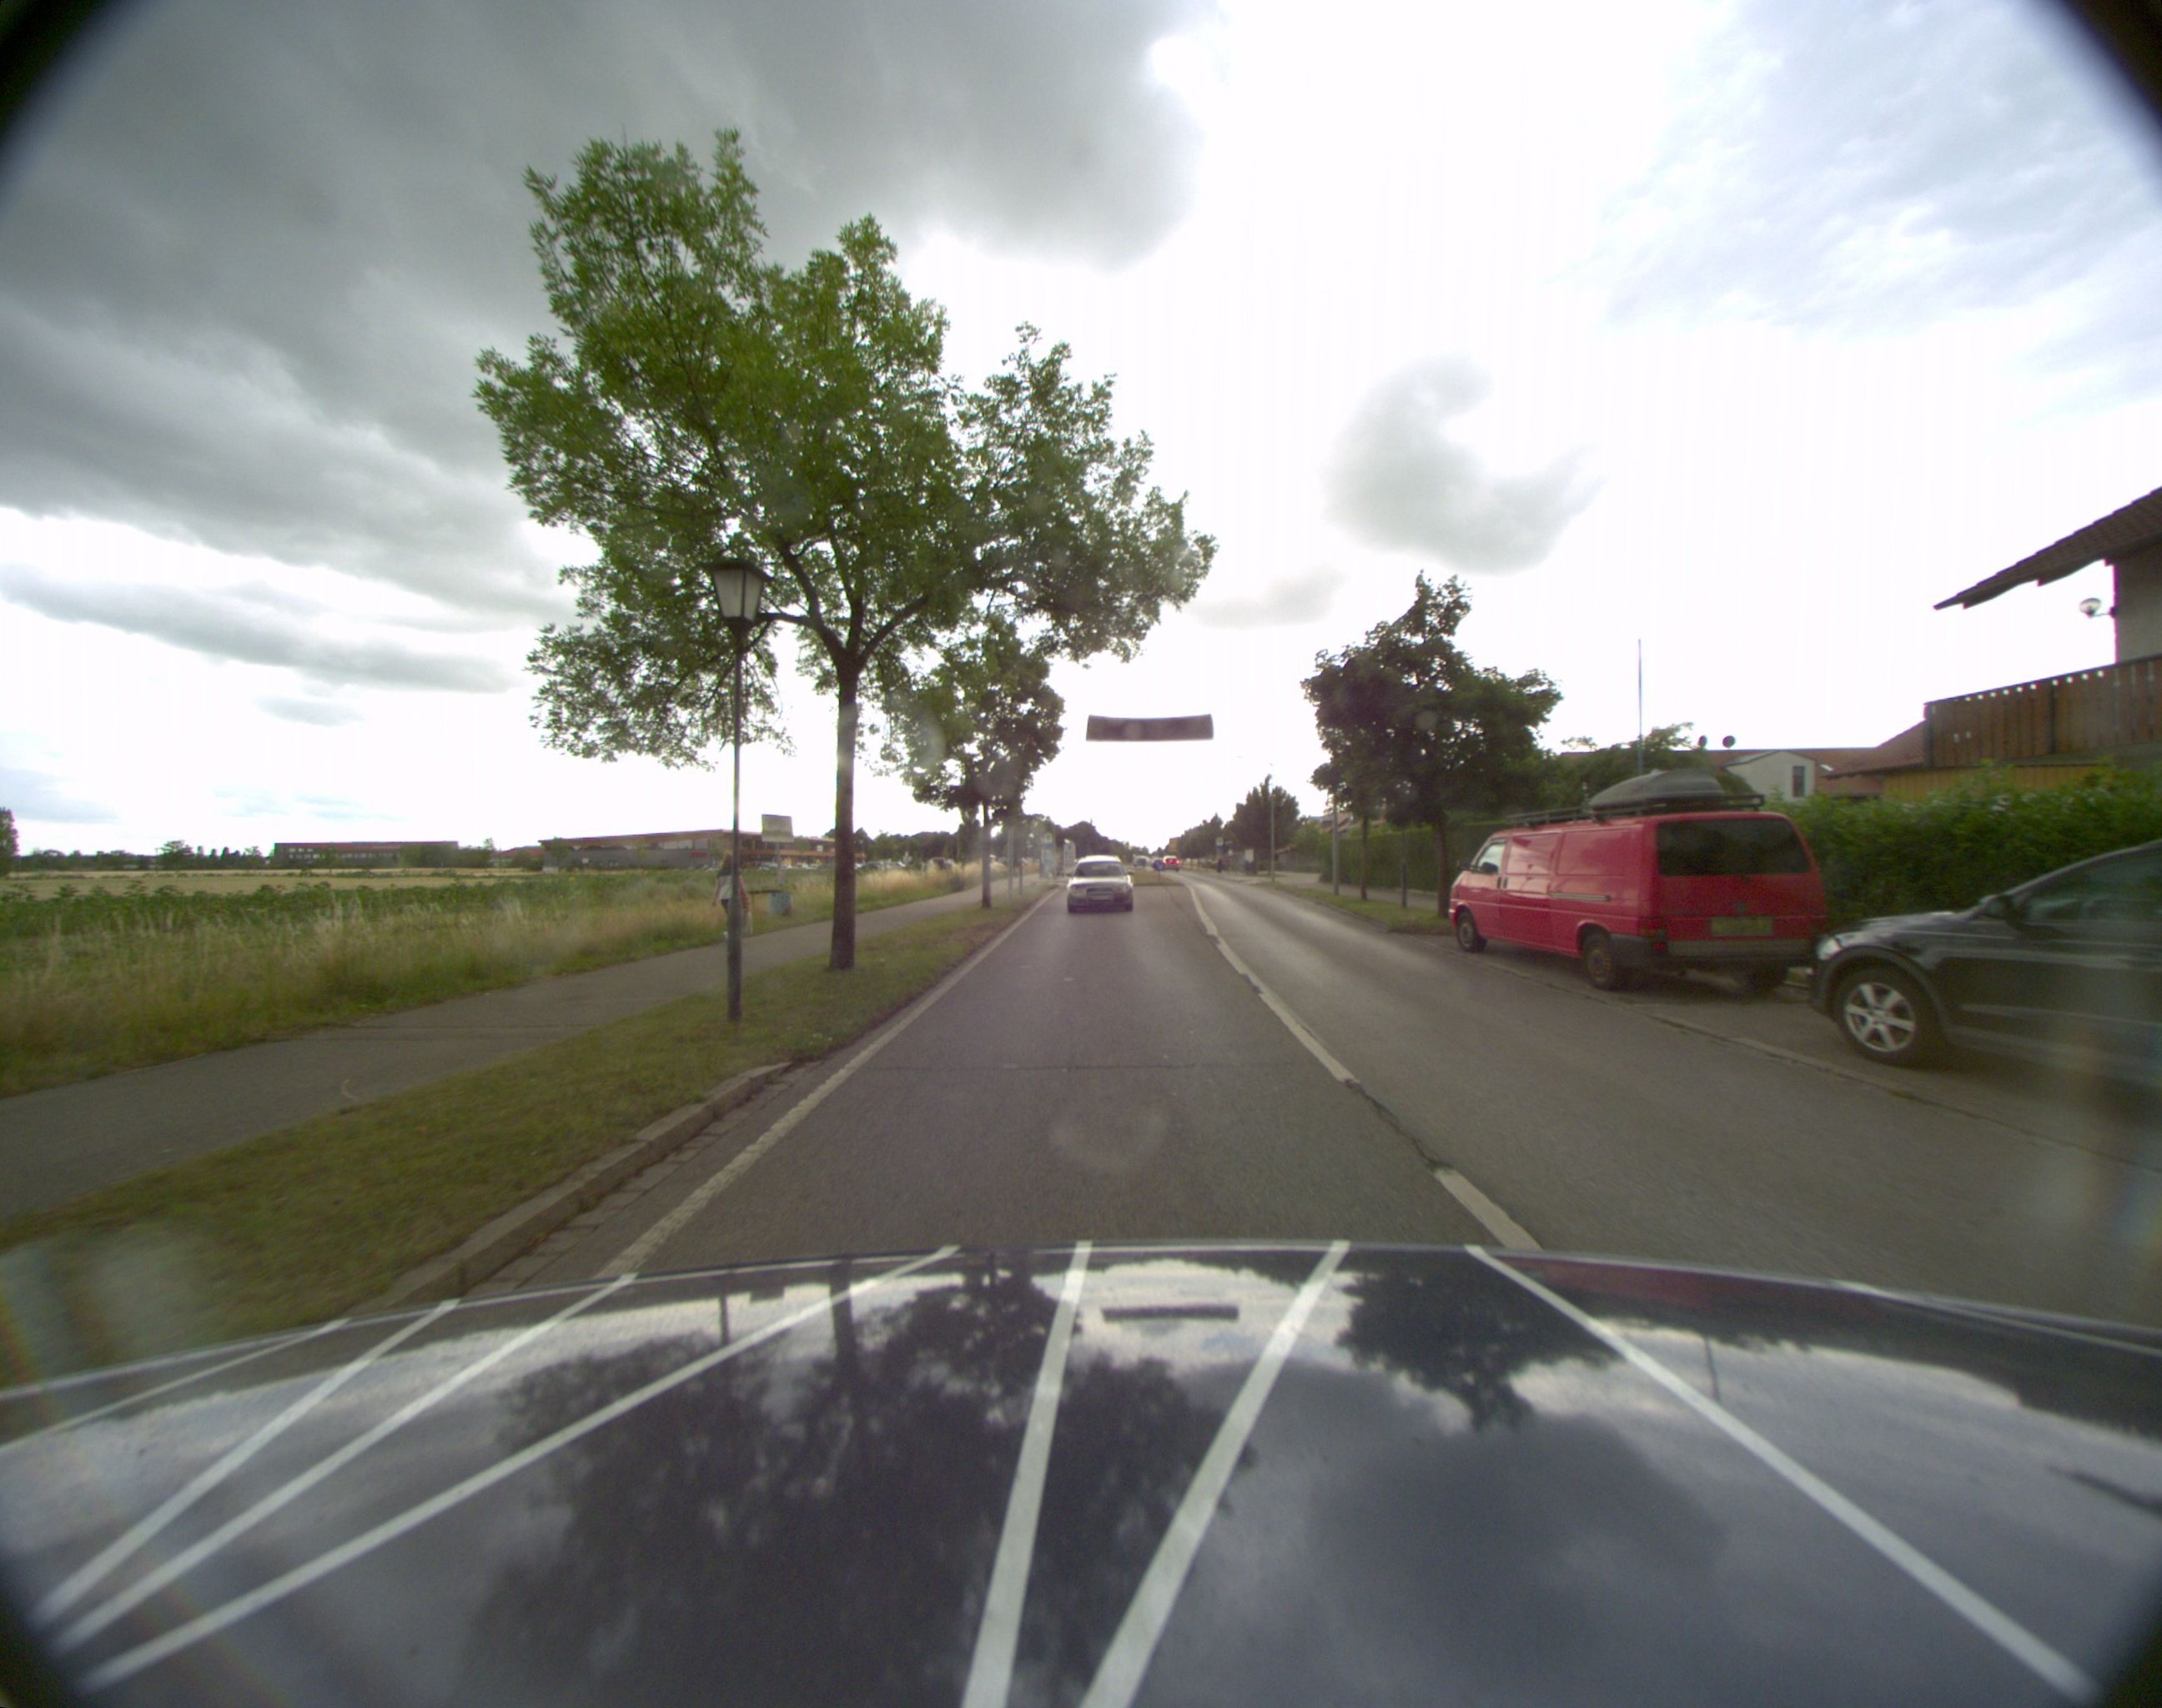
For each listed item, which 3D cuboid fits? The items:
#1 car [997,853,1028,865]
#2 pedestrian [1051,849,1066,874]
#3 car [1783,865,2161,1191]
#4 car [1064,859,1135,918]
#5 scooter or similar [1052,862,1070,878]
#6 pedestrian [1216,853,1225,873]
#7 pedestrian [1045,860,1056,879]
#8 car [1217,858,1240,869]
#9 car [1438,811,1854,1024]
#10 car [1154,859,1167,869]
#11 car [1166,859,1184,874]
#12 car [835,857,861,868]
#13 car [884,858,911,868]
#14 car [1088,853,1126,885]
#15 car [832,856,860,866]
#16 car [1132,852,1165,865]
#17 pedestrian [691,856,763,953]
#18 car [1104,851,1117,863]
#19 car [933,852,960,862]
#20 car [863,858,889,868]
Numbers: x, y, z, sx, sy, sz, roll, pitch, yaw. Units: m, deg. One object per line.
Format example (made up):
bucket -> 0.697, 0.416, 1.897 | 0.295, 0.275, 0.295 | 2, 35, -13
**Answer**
car -> -12.597, 0.931, 139.441 | 5.526, 2.002, 1.999 | -2, 0, -4
pedestrian -> -1.673, 0.558, 55.848 | 0.782, 1.782, 0.780 | -2, 0, 24
car -> 6.286, 0.877, 3.797 | 1.775, 1.588, 4.239 | -1, -1, 3
car -> 0.577, 0.908, 21.602 | 1.763, 1.410, 4.521 | -2, 0, 2
scooter or similar -> -1.365, 1.124, 52.217 | 0.707, 1.056, 1.062 | -1, 1, 39
pedestrian -> 11.225, 0.700, 61.106 | 0.589, 1.626, 0.813 | 0, 0, 2
pedestrian -> -2.096, 1.040, 52.094 | 0.666, 1.295, 0.505 | -2, 0, 3
car -> 30.525, 1.936, 157.209 | 4.567, 2.002, 2.001 | -2, 0, 7
car -> 6.556, 0.626, 9.764 | 1.834, 2.018, 5.047 | 0, 0, 3
car -> 12.464, 1.587, 119.203 | 1.924, 1.445, 4.497 | 0, 0, 3
car -> 10.035, 1.314, 81.045 | 1.710, 1.523, 3.509 | 1, 0, 5
car -> -48.293, 1.774, 157.739 | 4.857, 2.002, 1.999 | -2, 0, -5
car -> -40.799, 2.000, 169.328 | 5.526, 2.002, 1.999 | -2, 0, -4
car -> 1.332, 0.731, 38.802 | 1.763, 1.495, 4.692 | -2, 0, 2
car -> -46.764, 1.392, 151.339 | 4.857, 2.002, 1.999 | -2, 0, -5
car -> 11.528, 0.698, 129.331 | 5.326, 2.002, 1.995 | -2, 0, -31
pedestrian -> -6.586, 0.918, 14.171 | 0.839, 1.744, 0.870 | -1, 0, 7
car -> 5.168, 0.510, 133.796 | 1.998, 2.002, 4.000 | 0, 0, 0
car -> -29.105, 0.574, 164.169 | 5.526, 2.002, 1.999 | -2, 0, -4
car -> -41.682, 1.827, 154.442 | 4.857, 2.002, 1.999 | -2, 0, -5
